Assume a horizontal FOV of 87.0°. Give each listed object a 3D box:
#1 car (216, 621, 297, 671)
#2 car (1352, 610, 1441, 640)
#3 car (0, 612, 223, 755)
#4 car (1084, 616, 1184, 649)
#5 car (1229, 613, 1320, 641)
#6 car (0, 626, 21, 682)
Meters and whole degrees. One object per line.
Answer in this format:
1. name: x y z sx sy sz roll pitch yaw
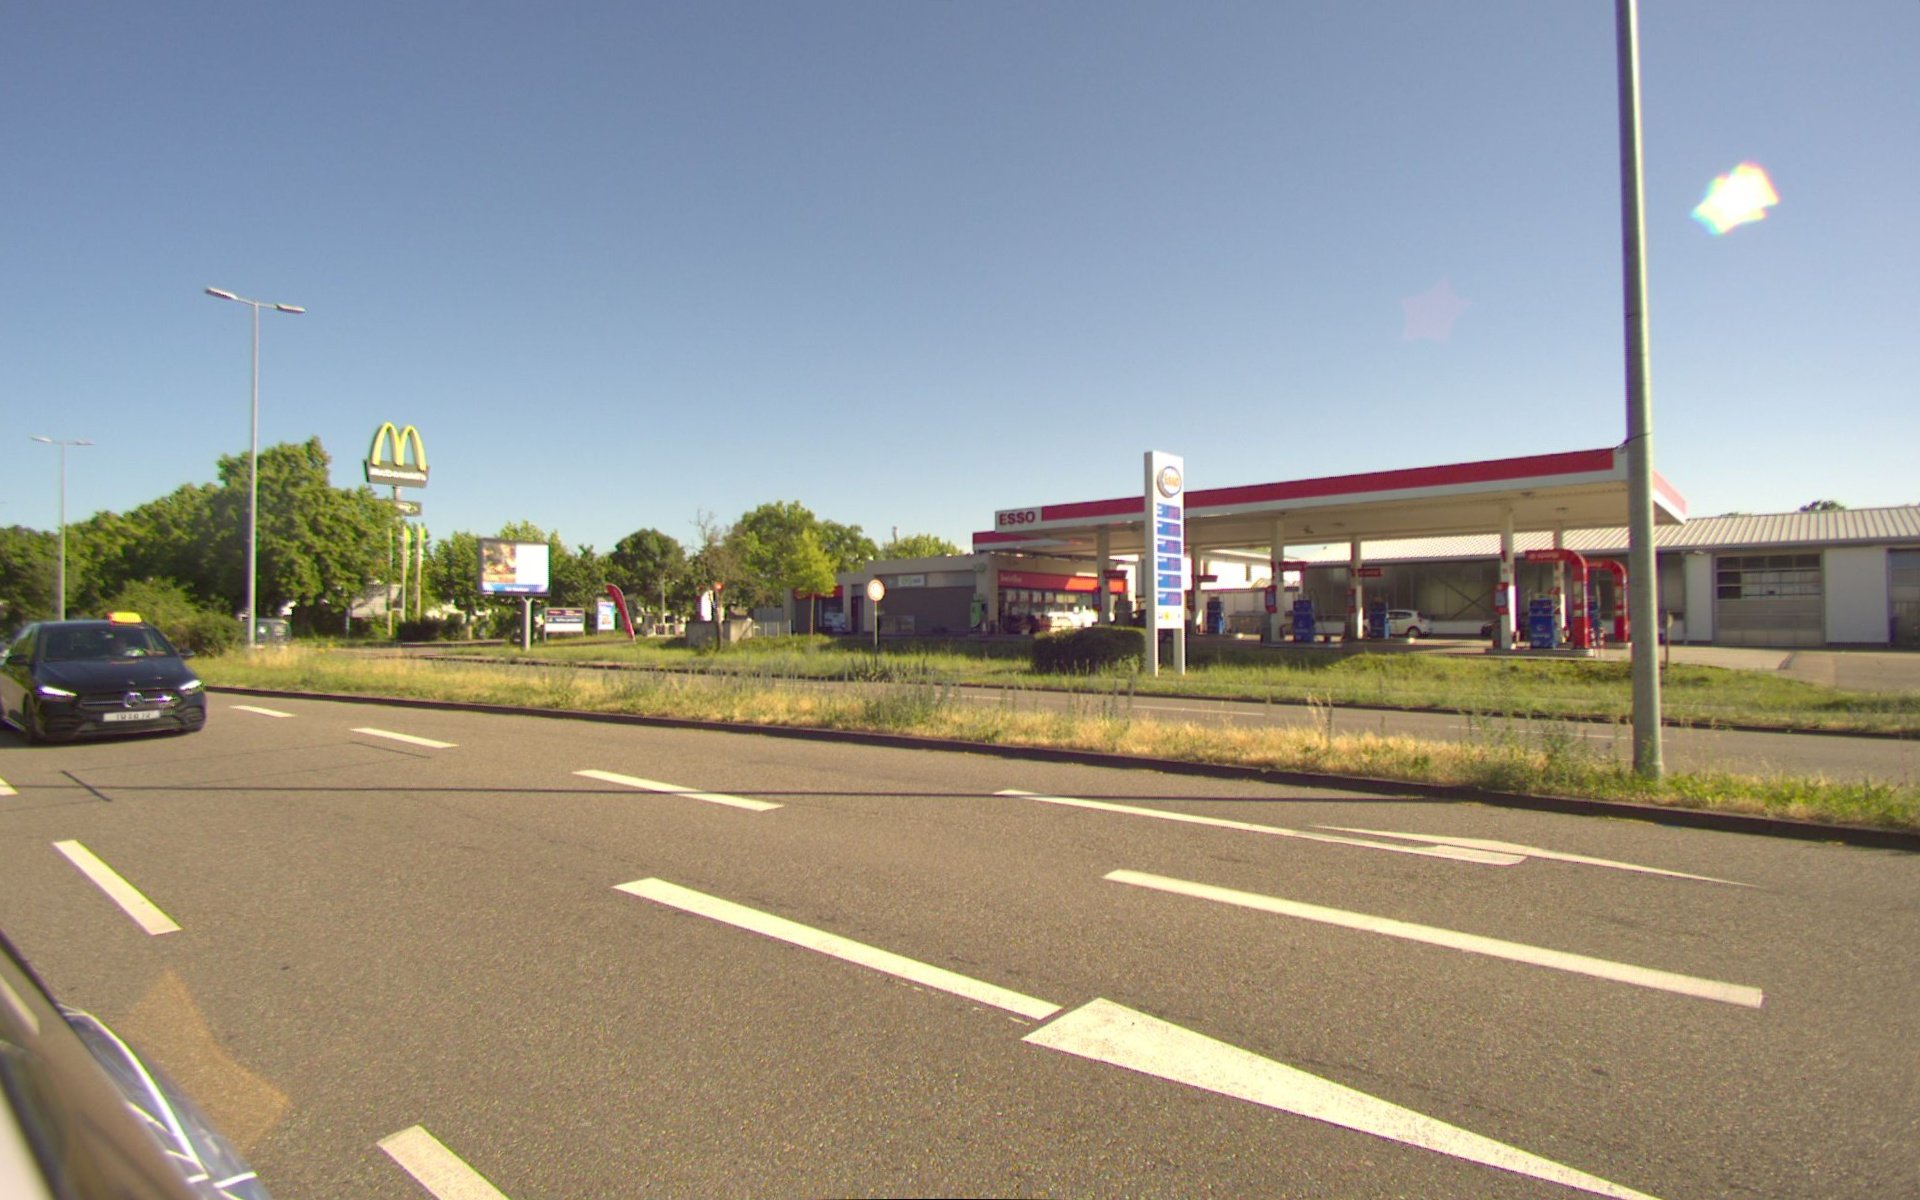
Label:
1. car: -28.433 1.790 40.856 4.292 1.862 1.660 -1 0 41
2. car: 22.660 1.281 52.615 3.855 1.500 1.973 -1 0 41
3. car: -11.661 1.002 13.655 4.580 1.614 1.765 -2 -1 40
4. car: 7.796 1.437 45.524 3.998 1.416 1.973 -2 -2 41
5. car: 17.826 1.504 57.475 4.540 1.477 1.973 -1 0 41
6. car: -28.904 1.550 29.393 4.461 1.521 1.927 -1 0 41
